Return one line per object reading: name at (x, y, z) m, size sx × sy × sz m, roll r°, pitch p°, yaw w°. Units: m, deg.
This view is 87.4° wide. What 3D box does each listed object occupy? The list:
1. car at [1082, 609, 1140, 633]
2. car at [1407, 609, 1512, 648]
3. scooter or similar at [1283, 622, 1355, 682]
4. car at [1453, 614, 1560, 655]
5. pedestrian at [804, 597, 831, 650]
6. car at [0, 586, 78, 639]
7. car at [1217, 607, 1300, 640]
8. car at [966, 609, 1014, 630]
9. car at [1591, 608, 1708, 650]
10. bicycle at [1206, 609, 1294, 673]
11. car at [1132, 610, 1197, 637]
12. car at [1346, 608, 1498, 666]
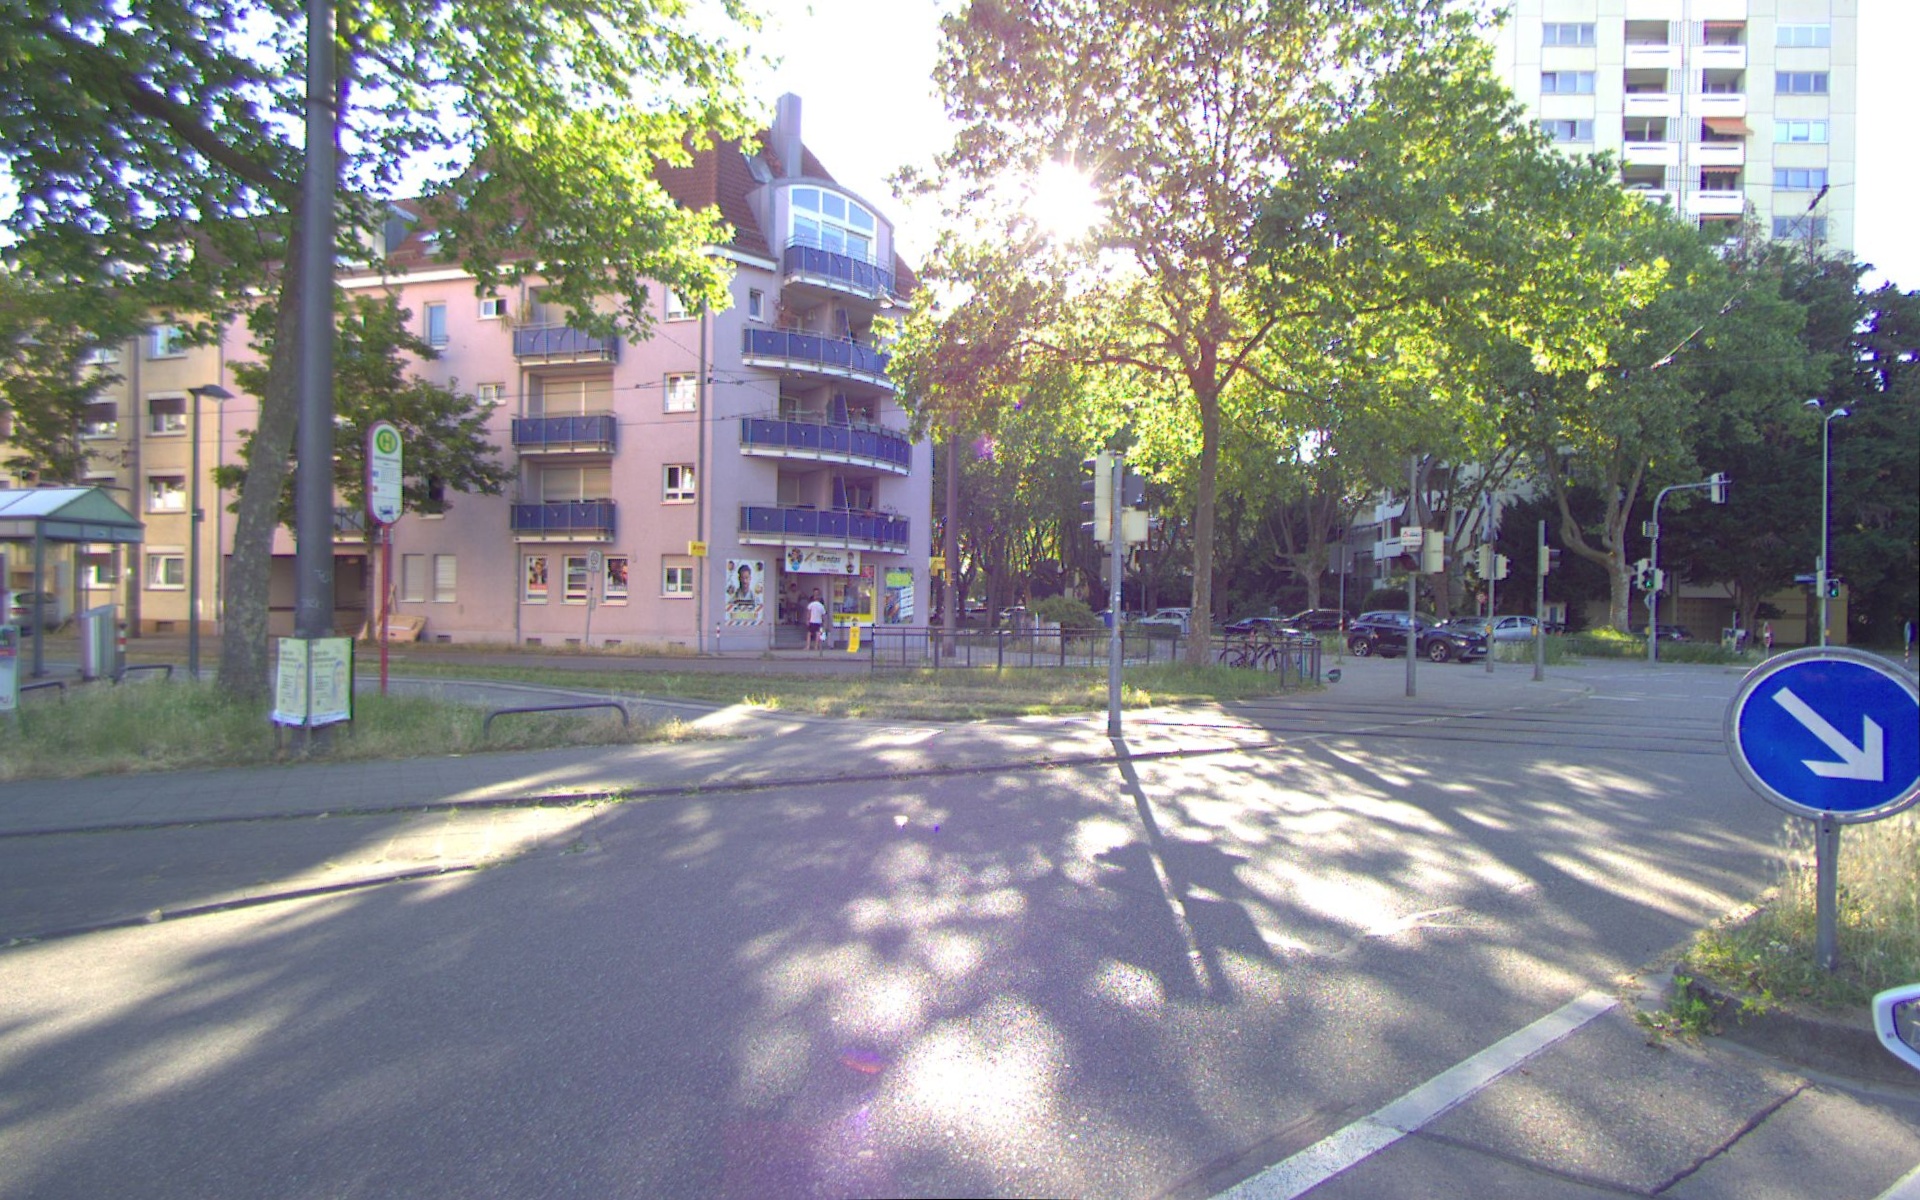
car at (11.089, 1.516, 73.897) m, size 3.921 × 1.617 × 1.738 m, roll 2°, pitch 0°, yaw 0°
car at (22.846, 1.293, 46.032) m, size 3.921 × 1.617 × 1.738 m, roll 2°, pitch 0°, yaw 0°
scooter or similar at (7.928, 1.146, 22.203) m, size 1.412 × 1.255 × 0.414 m, roll 2°, pitch 0°, yaw 9°
car at (23.884, 1.487, 43.982) m, size 3.732 × 1.617 × 1.738 m, roll 2°, pitch 0°, yaw 0°
pedestrian at (-4.619, 0.765, 32.627) m, size 0.610 × 1.689 × 0.549 m, roll 2°, pitch 0°, yaw 38°
car at (-33.473, 0.388, 35.217) m, size 4.029 × 1.728 × 1.940 m, roll 2°, pitch 0°, yaw 16°
car at (15.918, 1.235, 53.680) m, size 3.921 × 1.617 × 1.738 m, roll 2°, pitch 0°, yaw 0°
car at (2.613, 1.661, 86.365) m, size 3.919 × 1.617 × 1.739 m, roll 2°, pitch 0°, yaw 9°
car at (31.628, 1.299, 46.201) m, size 1.971 × 1.798 × 3.979 m, roll 2°, pitch 0°, yaw -22°
bicycle at (6.405, 0.884, 22.244) m, size 1.811 × 1.324 × 0.382 m, roll 2°, pitch 0°, yaw 34°
car at (13.407, 1.545, 65.982) m, size 3.921 × 1.617 × 1.738 m, roll 2°, pitch 0°, yaw 0°
car at (14.358, 1.114, 31.394) m, size 1.722 × 1.617 × 3.959 m, roll 2°, pitch 0°, yaw -36°
